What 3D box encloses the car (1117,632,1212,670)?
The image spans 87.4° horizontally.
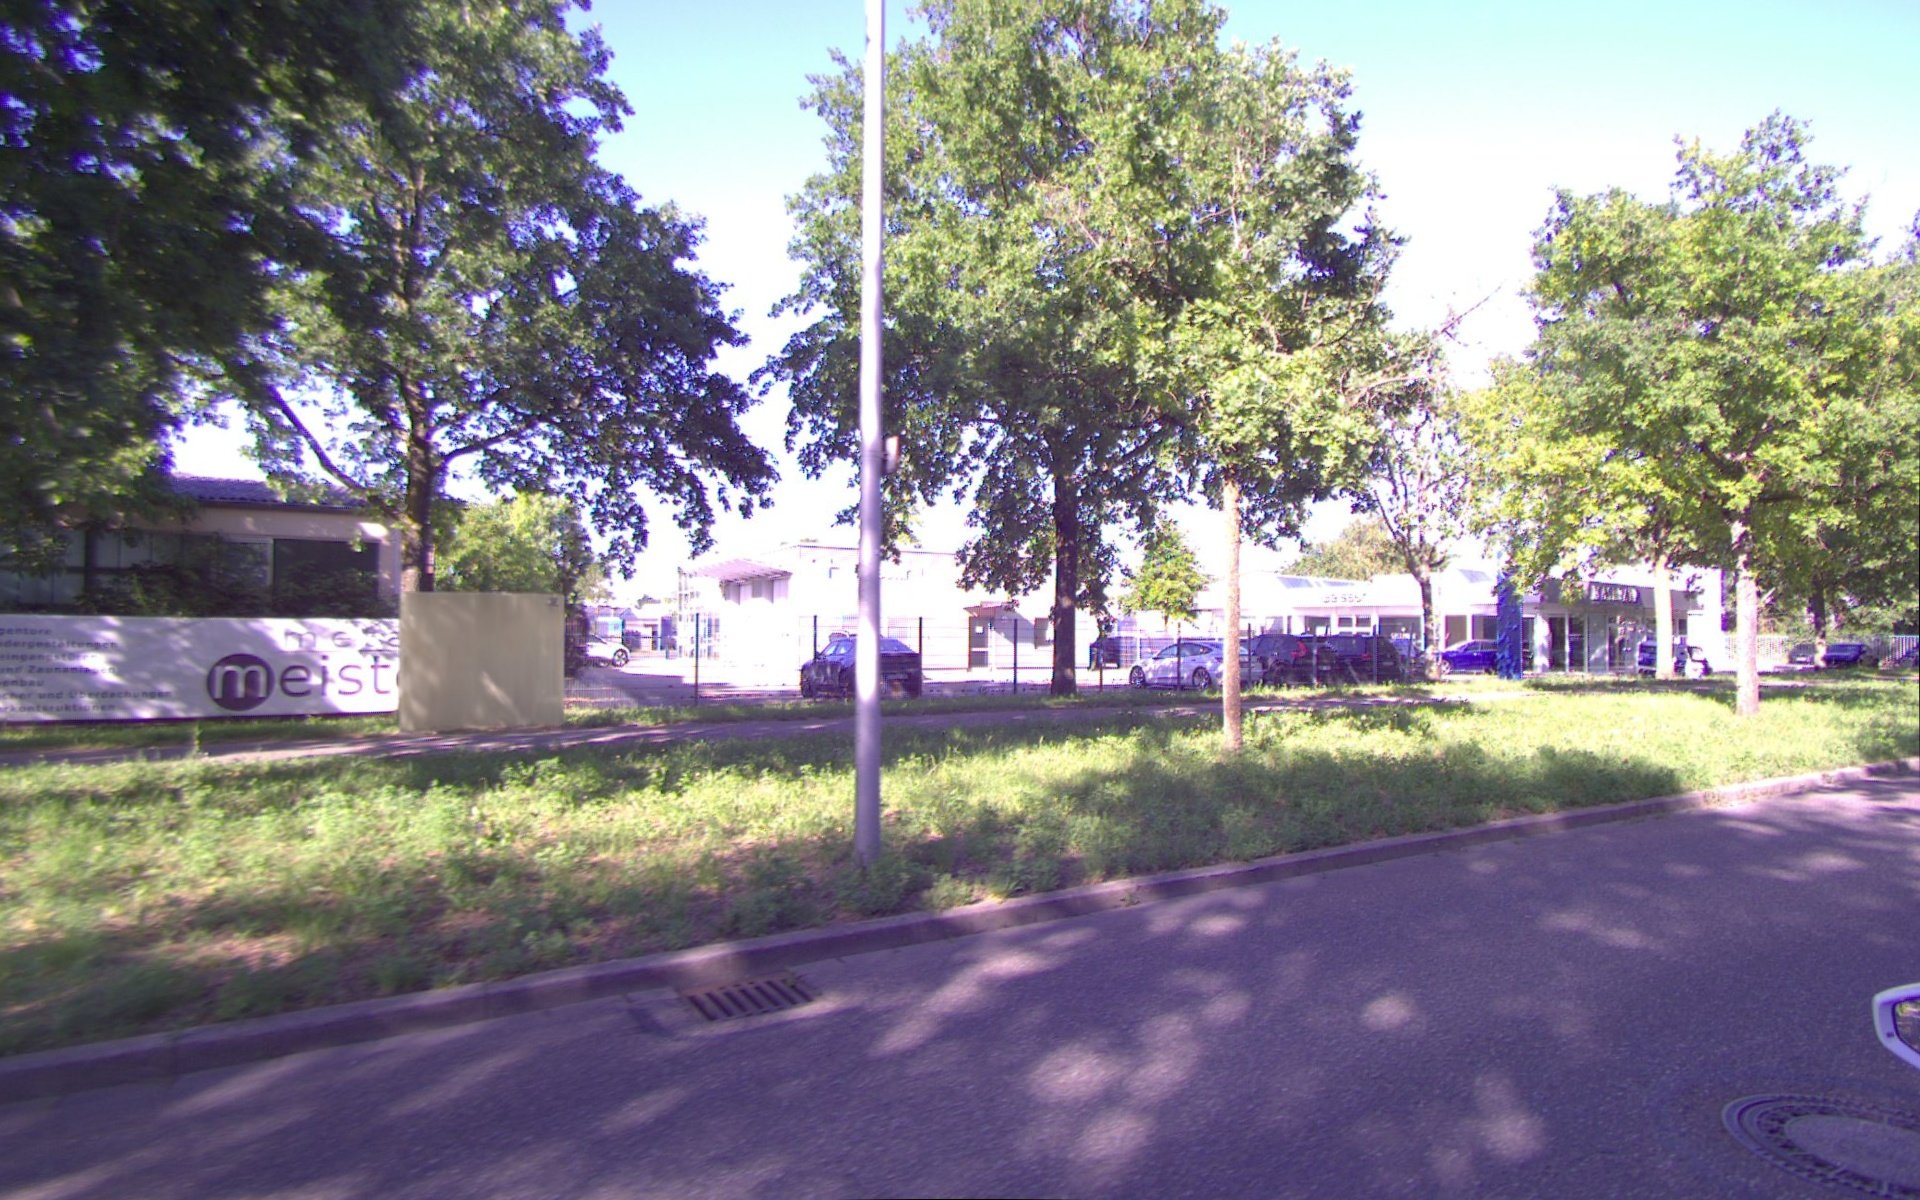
[{"bbox_3d":[10.073,2.465,49.241,5.226,1.683,1.973,2,0,-45],"label":"car"}]

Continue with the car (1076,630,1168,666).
[{"bbox_3d":[8.440,2.433,51.896,5.226,1.683,1.973,2,0,-45],"label":"car"}]

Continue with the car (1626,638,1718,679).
[{"bbox_3d":[26.980,2.188,38.137,1.402,1.489,2.568,1,-2,-15],"label":"car"}]

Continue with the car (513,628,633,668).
[{"bbox_3d":[-16.382,1.984,42.755,1.717,1.539,4.607,1,0,33],"label":"car"}]

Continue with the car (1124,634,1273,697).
[{"bbox_3d":[6.865,1.846,29.379,1.839,1.539,4.292,2,0,-29],"label":"car"}]

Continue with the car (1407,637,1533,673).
[{"bbox_3d":[25.113,2.675,49.609,5.153,1.683,2.001,0,0,7],"label":"car"}]

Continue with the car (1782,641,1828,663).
[{"bbox_3d":[68.922,4.215,81.916,4.844,1.587,1.977,2,0,-39],"label":"car"}]

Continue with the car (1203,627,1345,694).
[{"bbox_3d":[9.530,1.794,30.748,1.839,1.769,3.969,2,0,-29],"label":"car"}]

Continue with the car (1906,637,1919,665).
[{"bbox_3d":[65.858,3.447,66.882,1.983,1.825,3.954,2,0,-39],"label":"car"}]

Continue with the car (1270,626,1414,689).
[{"bbox_3d":[12.094,1.780,32.042,1.975,1.765,3.970,2,0,-28],"label":"car"}]

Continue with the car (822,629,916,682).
[{"bbox_3d":[-3.154,1.845,34.225,1.730,1.539,3.969,2,0,-29],"label":"car"}]

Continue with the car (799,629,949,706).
[{"bbox_3d":[-2.170,1.562,24.235,2.172,1.539,3.969,2,0,-29],"label":"car"}]

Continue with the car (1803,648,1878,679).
[{"bbox_3d":[50.002,3.561,57.017,4.963,1.619,1.981,2,0,-34],"label":"car"}]
